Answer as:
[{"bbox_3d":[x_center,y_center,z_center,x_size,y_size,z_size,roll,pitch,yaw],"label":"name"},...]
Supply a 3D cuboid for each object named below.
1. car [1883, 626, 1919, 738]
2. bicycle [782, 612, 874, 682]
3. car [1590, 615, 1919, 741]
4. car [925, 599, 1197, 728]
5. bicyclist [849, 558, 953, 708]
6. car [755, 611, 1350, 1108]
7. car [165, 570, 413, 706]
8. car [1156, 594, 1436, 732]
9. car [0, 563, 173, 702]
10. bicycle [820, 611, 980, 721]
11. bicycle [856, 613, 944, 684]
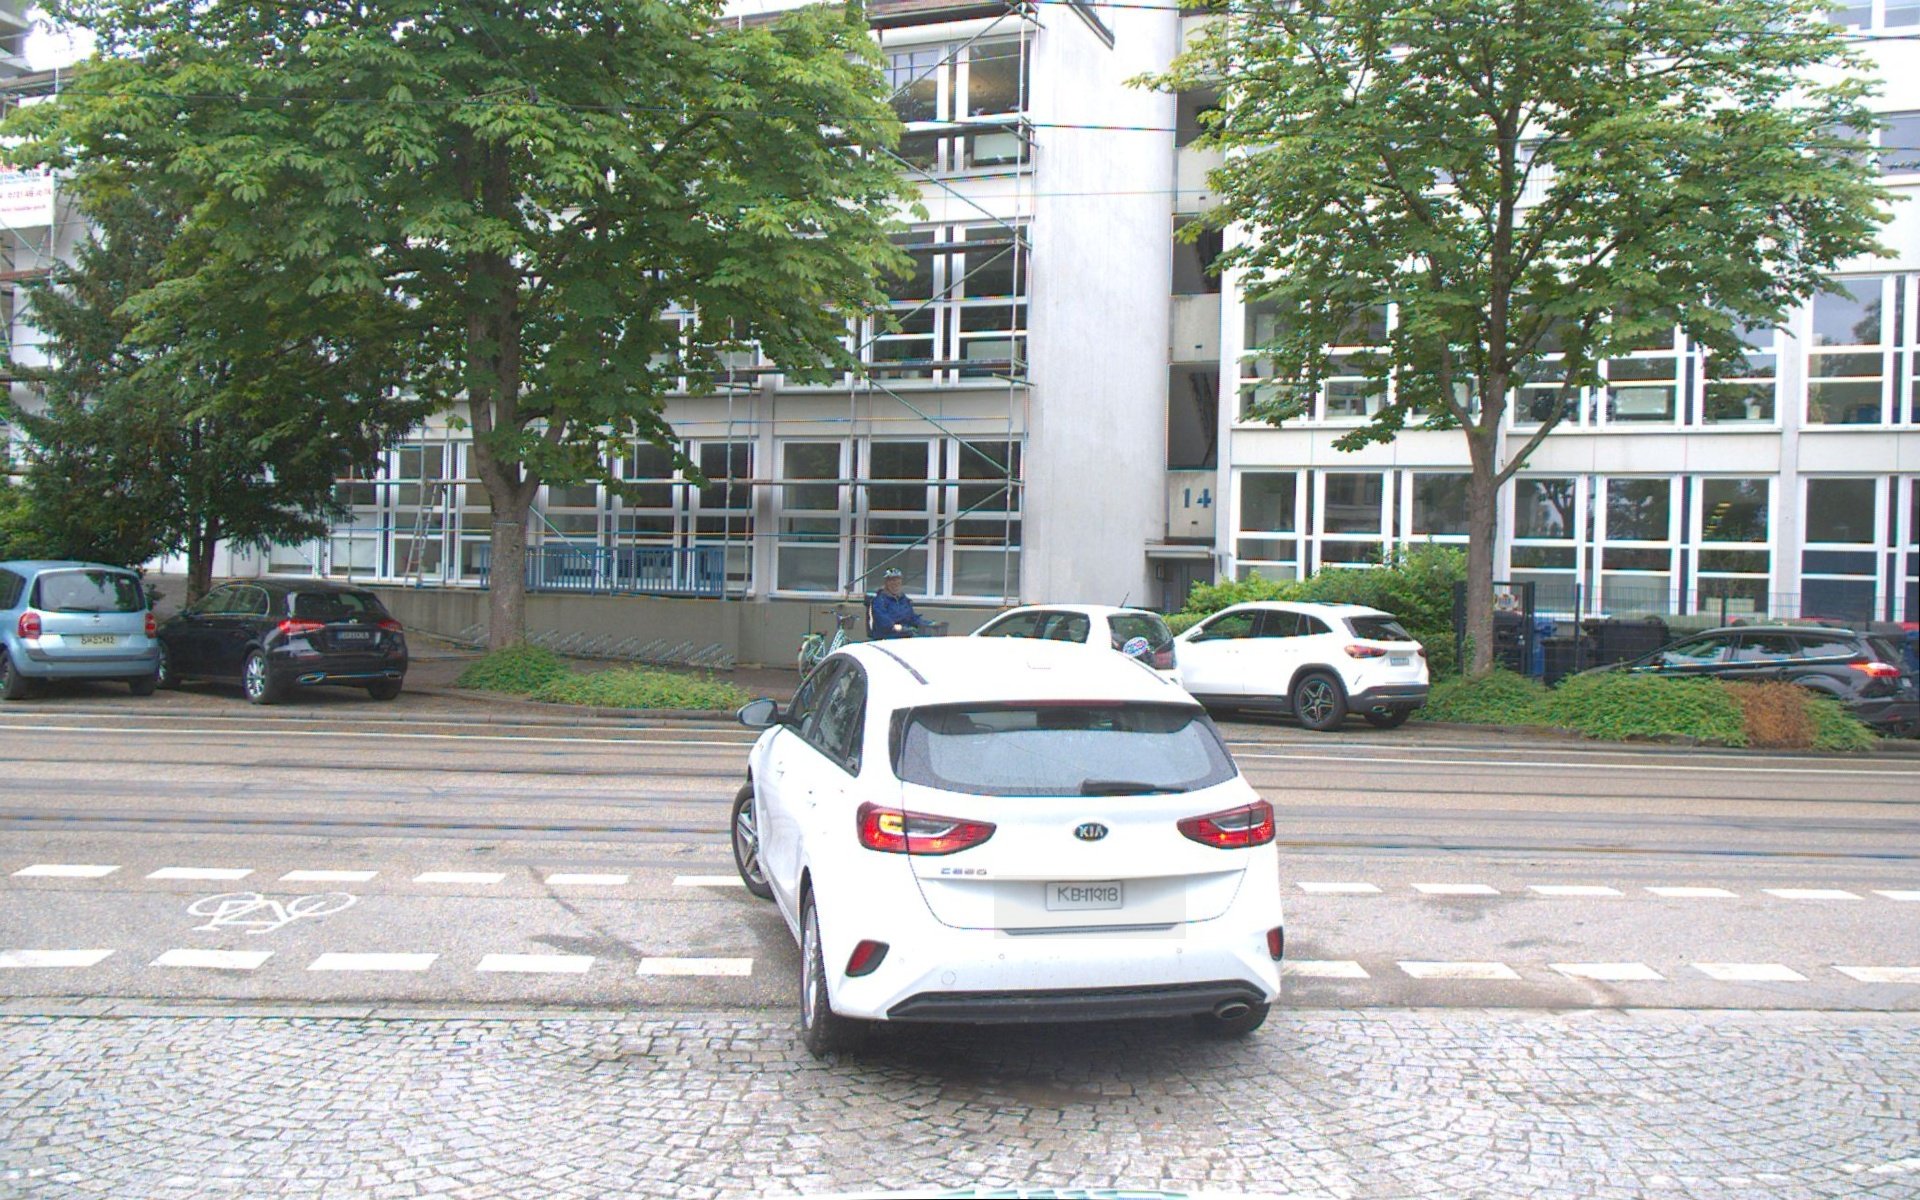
[{"bbox_3d":[14.319,1.136,22.006,3.331,1.499,1.408,1,0,43],"label":"car"},{"bbox_3d":[-2.181,0.752,27.578,0.631,1.093,2.312,1,0,19],"label":"bicycle"},{"bbox_3d":[10.785,0.984,22.430,3.880,1.499,1.665,1,0,40],"label":"car"},{"bbox_3d":[1.253,0.765,21.359,1.545,1.499,3.352,1,0,-44],"label":"car"},{"bbox_3d":[-0.704,0.378,19.726,0.882,1.727,0.828,1,0,44],"label":"bicyclist"},{"bbox_3d":[0.088,0.838,7.340,1.743,1.457,3.969,0,1,-11],"label":"car"},{"bbox_3d":[-8.347,0.425,20.479,3.278,1.537,1.609,1,0,43],"label":"car"},{"bbox_3d":[4.380,0.769,21.829,1.545,1.646,3.352,1,0,-44],"label":"car"},{"bbox_3d":[-11.187,0.352,20.361,3.279,1.564,1.609,1,0,43],"label":"car"},{"bbox_3d":[-0.732,0.758,19.742,1.883,1.194,0.816,2,0,44],"label":"bicycle"},{"bbox_3d":[-0.953,0.769,27.106,0.631,1.093,2.312,1,0,19],"label":"bicycle"}]
